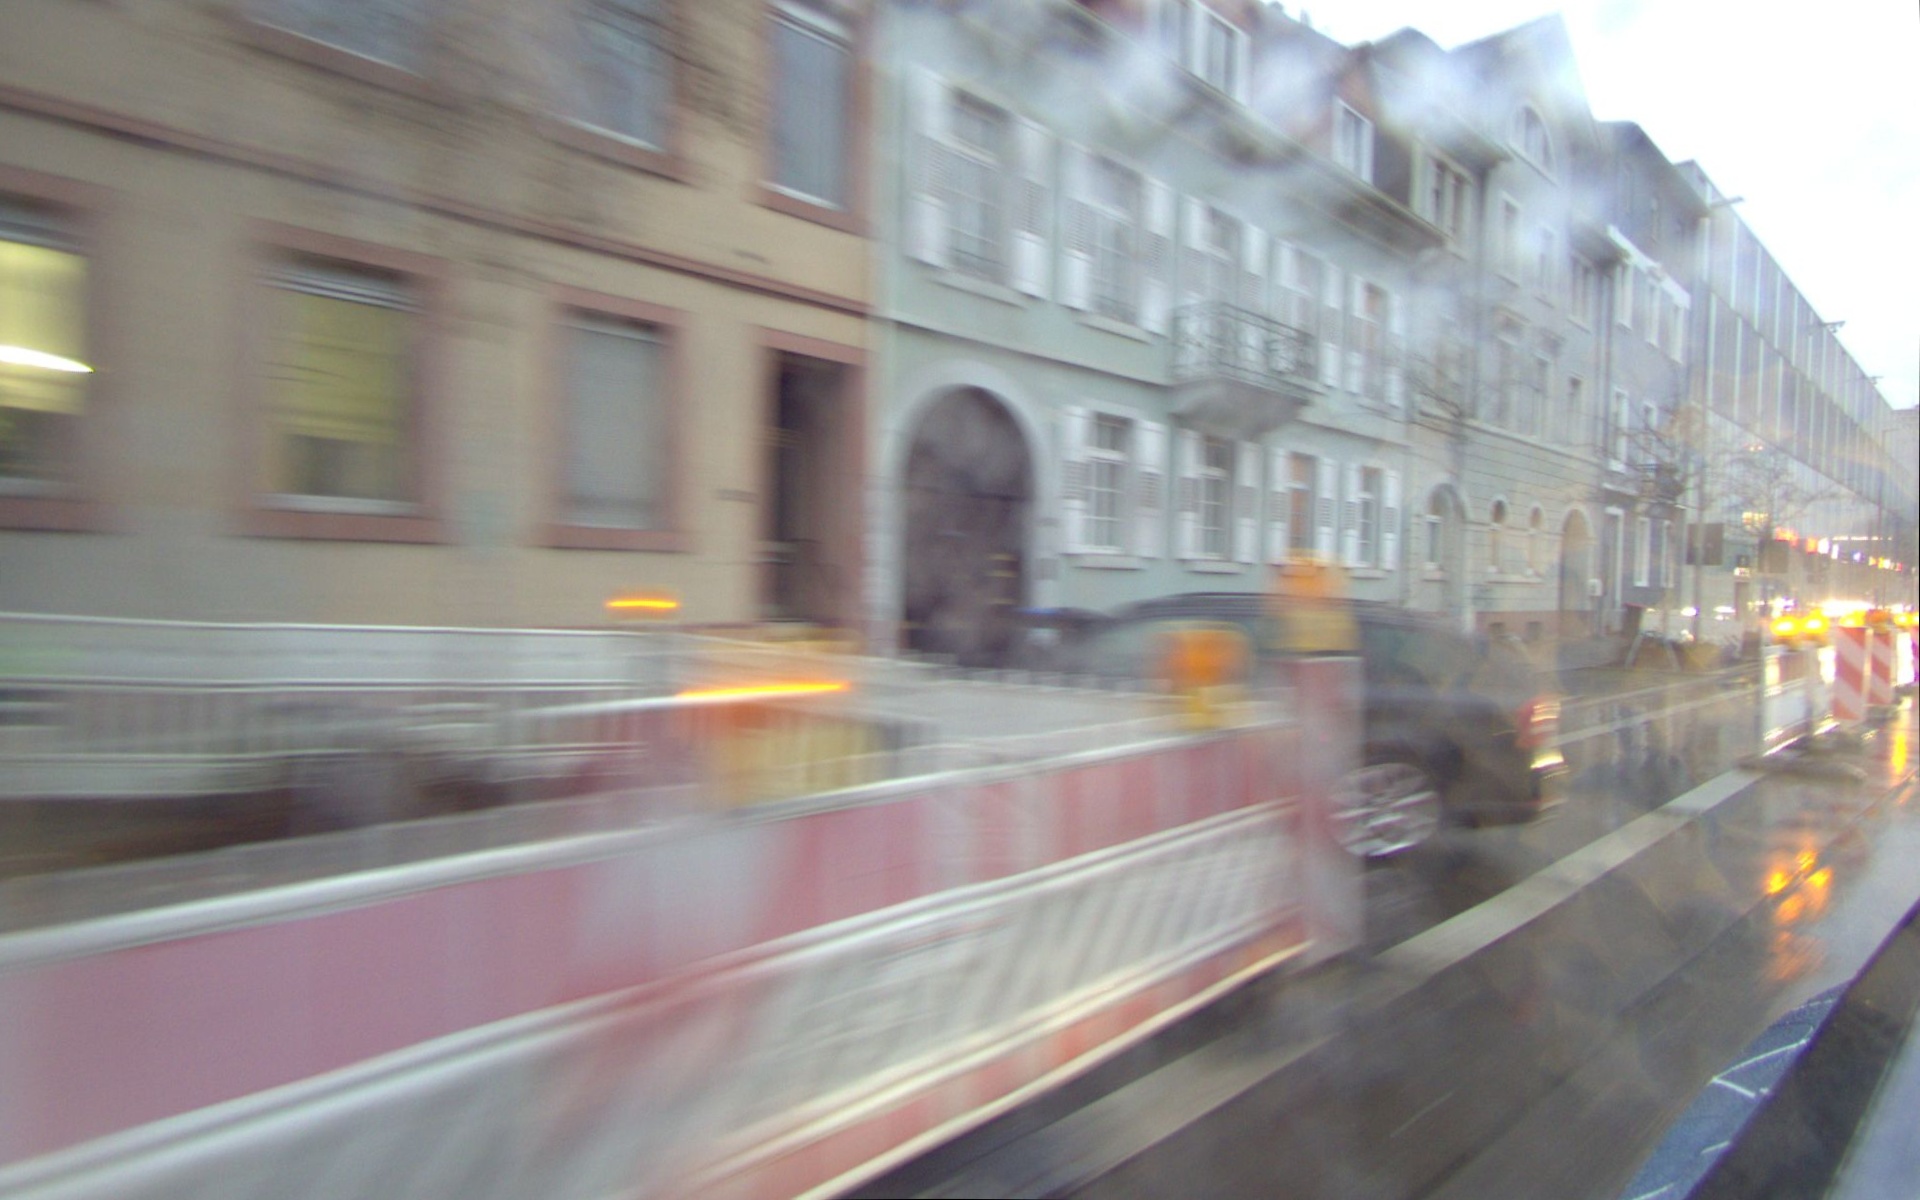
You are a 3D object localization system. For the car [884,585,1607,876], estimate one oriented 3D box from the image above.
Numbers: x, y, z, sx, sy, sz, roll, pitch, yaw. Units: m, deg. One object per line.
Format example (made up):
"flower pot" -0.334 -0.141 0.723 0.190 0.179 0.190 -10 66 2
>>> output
"car" 1.690 0.683 6.803 4.032 1.537 1.901 1 0 13

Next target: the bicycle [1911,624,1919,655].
"bicycle" 33.604 1.363 34.920 2.201 1.012 0.944 0 0 -41

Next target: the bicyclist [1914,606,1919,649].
"bicyclist" 33.530 0.959 34.814 1.048 1.481 0.944 0 0 -41
